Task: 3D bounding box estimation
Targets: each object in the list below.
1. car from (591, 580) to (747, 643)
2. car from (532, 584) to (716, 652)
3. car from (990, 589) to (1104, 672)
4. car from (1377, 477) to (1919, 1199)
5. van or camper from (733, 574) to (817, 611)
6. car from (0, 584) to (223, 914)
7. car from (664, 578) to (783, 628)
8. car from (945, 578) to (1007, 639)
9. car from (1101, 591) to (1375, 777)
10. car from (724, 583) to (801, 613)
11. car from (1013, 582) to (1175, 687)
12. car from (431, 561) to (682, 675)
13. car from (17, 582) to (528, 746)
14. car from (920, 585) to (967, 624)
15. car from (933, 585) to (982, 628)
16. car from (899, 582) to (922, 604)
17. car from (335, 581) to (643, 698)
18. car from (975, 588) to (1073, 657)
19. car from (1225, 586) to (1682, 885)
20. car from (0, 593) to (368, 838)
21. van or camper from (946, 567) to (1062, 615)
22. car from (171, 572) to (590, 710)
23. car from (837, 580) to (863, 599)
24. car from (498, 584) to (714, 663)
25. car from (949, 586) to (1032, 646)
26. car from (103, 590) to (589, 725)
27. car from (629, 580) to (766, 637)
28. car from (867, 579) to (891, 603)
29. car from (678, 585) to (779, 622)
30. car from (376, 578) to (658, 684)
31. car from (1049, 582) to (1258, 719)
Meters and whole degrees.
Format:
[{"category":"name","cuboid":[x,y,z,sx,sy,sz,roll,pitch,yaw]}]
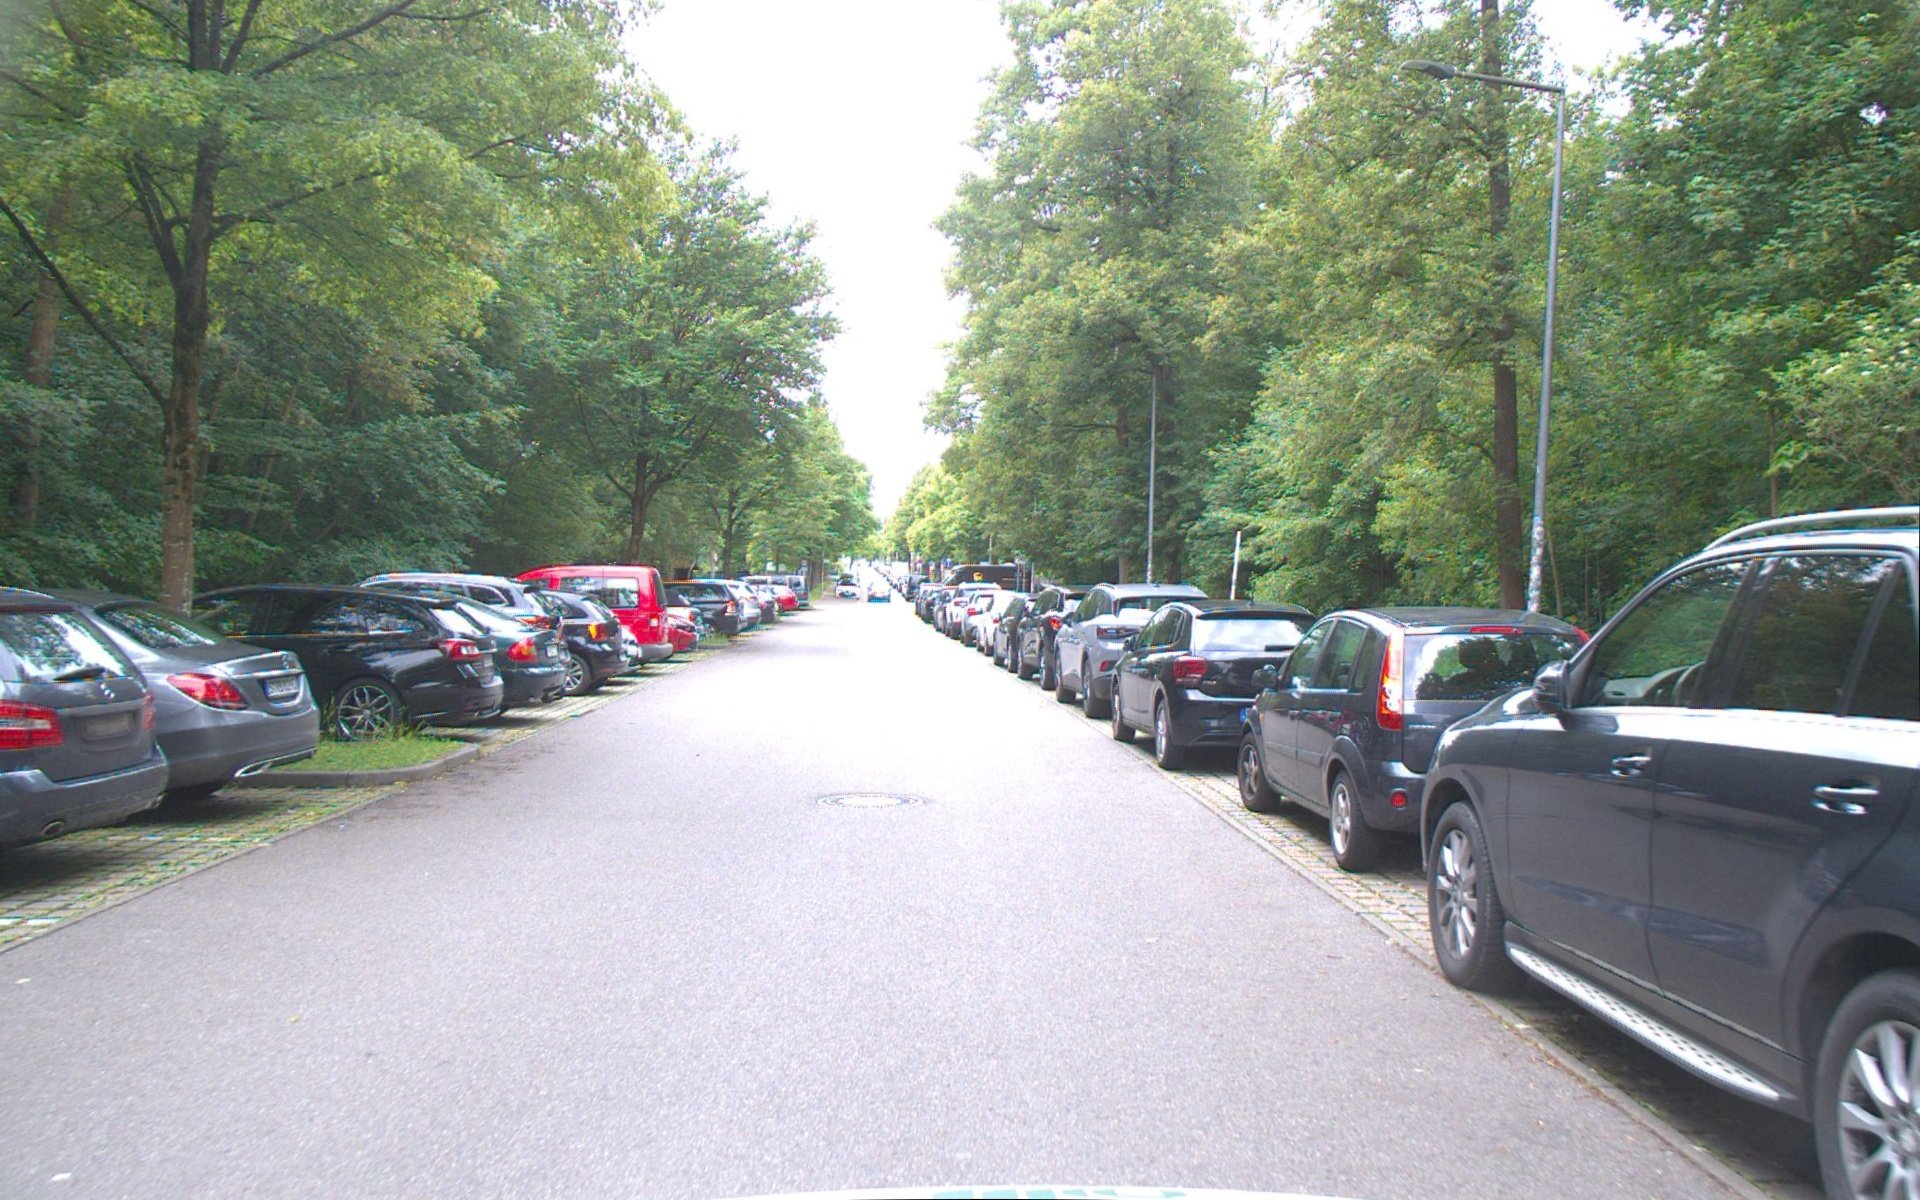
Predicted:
[{"category":"car","cuboid":[-7.559,0.288,43.251,3.755,1.563,1.870,1,0,-2]},{"category":"car","cuboid":[-7.750,0.405,38.399,3.906,1.500,1.847,1,0,-2]},{"category":"car","cuboid":[1.626,0.553,32.104,1.634,1.470,3.810,1,1,-6]},{"category":"car","cuboid":[2.931,0.623,5.093,1.852,1.777,4.946,1,1,-2]},{"category":"van or camper","cuboid":[-10.325,-0.417,92.227,4.403,1.900,1.911,1,3,-18]},{"category":"car","cuboid":[-6.247,0.659,8.476,4.028,1.506,1.995,1,0,-3]},{"category":"car","cuboid":[-8.253,0.100,57.981,3.906,1.669,2.008,1,0,-2]},{"category":"car","cuboid":[0.444,0.238,50.828,1.676,1.758,3.998,1,1,-2]},{"category":"car","cuboid":[2.476,0.688,15.701,1.604,1.503,4.148,1,0,-4]},{"category":"car","cuboid":[-9.624,-0.098,80.675,3.518,1.385,1.821,1,0,-15]},{"category":"car","cuboid":[2.107,0.501,27.181,1.940,1.564,4.161,1,1,-6]},{"category":"car","cuboid":[-6.855,0.302,28.489,3.909,1.848,2.113,1,0,-6]},{"category":"car","cuboid":[-6.473,0.592,15.994,4.214,1.474,1.754,1,0,-8]},{"category":"car","cuboid":[-0.730,0.168,70.245,1.882,1.547,3.886,1,1,-2]},{"category":"car","cuboid":[-0.134,0.216,63.049,1.676,1.535,3.998,1,1,-2]},{"category":"car","cuboid":[-3.787,-0.516,125.090,1.596,1.440,3.409,2,3,-4]},{"category":"car","cuboid":[-6.580,0.539,23.508,3.911,1.557,1.997,1,0,-7]},{"category":"car","cuboid":[1.453,0.491,39.183,1.899,1.501,3.989,1,1,-4]},{"category":"car","cuboid":[2.910,0.694,10.675,1.566,1.530,4.088,1,1,-2]},{"category":"car","cuboid":[-6.322,0.690,11.022,4.026,1.456,1.964,1,0,-1]},{"category":"van or camper","cuboid":[2.936,-0.601,110.302,7.208,2.938,2.638,1,3,-18]},{"category":"car","cuboid":[-7.220,0.495,21.017,4.638,1.623,1.958,1,0,-4]},{"category":"car","cuboid":[-8.161,-0.761,122.496,1.704,1.182,3.411,2,3,-1]},{"category":"car","cuboid":[-7.061,0.459,33.332,3.907,1.500,2.114,1,0,-3]},{"category":"car","cuboid":[0.785,0.405,45.155,1.689,1.520,3.768,1,1,-8]},{"category":"car","cuboid":[-6.641,0.603,18.339,4.638,1.367,1.986,1,0,-4]},{"category":"car","cuboid":[-7.984,0.259,50.510,3.906,1.669,1.734,1,0,-2]},{"category":"car","cuboid":[-5.825,-0.656,118.993,1.657,1.440,3.152,2,3,-4]},{"category":"car","cuboid":[-9.273,0.142,66.118,3.914,1.406,1.996,1,0,-10]},{"category":"car","cuboid":[-6.849,0.460,25.942,3.907,1.557,1.999,1,0,-3]},{"category":"car","cuboid":[2.380,0.564,21.553,1.939,1.564,4.619,1,1,-3]}]
